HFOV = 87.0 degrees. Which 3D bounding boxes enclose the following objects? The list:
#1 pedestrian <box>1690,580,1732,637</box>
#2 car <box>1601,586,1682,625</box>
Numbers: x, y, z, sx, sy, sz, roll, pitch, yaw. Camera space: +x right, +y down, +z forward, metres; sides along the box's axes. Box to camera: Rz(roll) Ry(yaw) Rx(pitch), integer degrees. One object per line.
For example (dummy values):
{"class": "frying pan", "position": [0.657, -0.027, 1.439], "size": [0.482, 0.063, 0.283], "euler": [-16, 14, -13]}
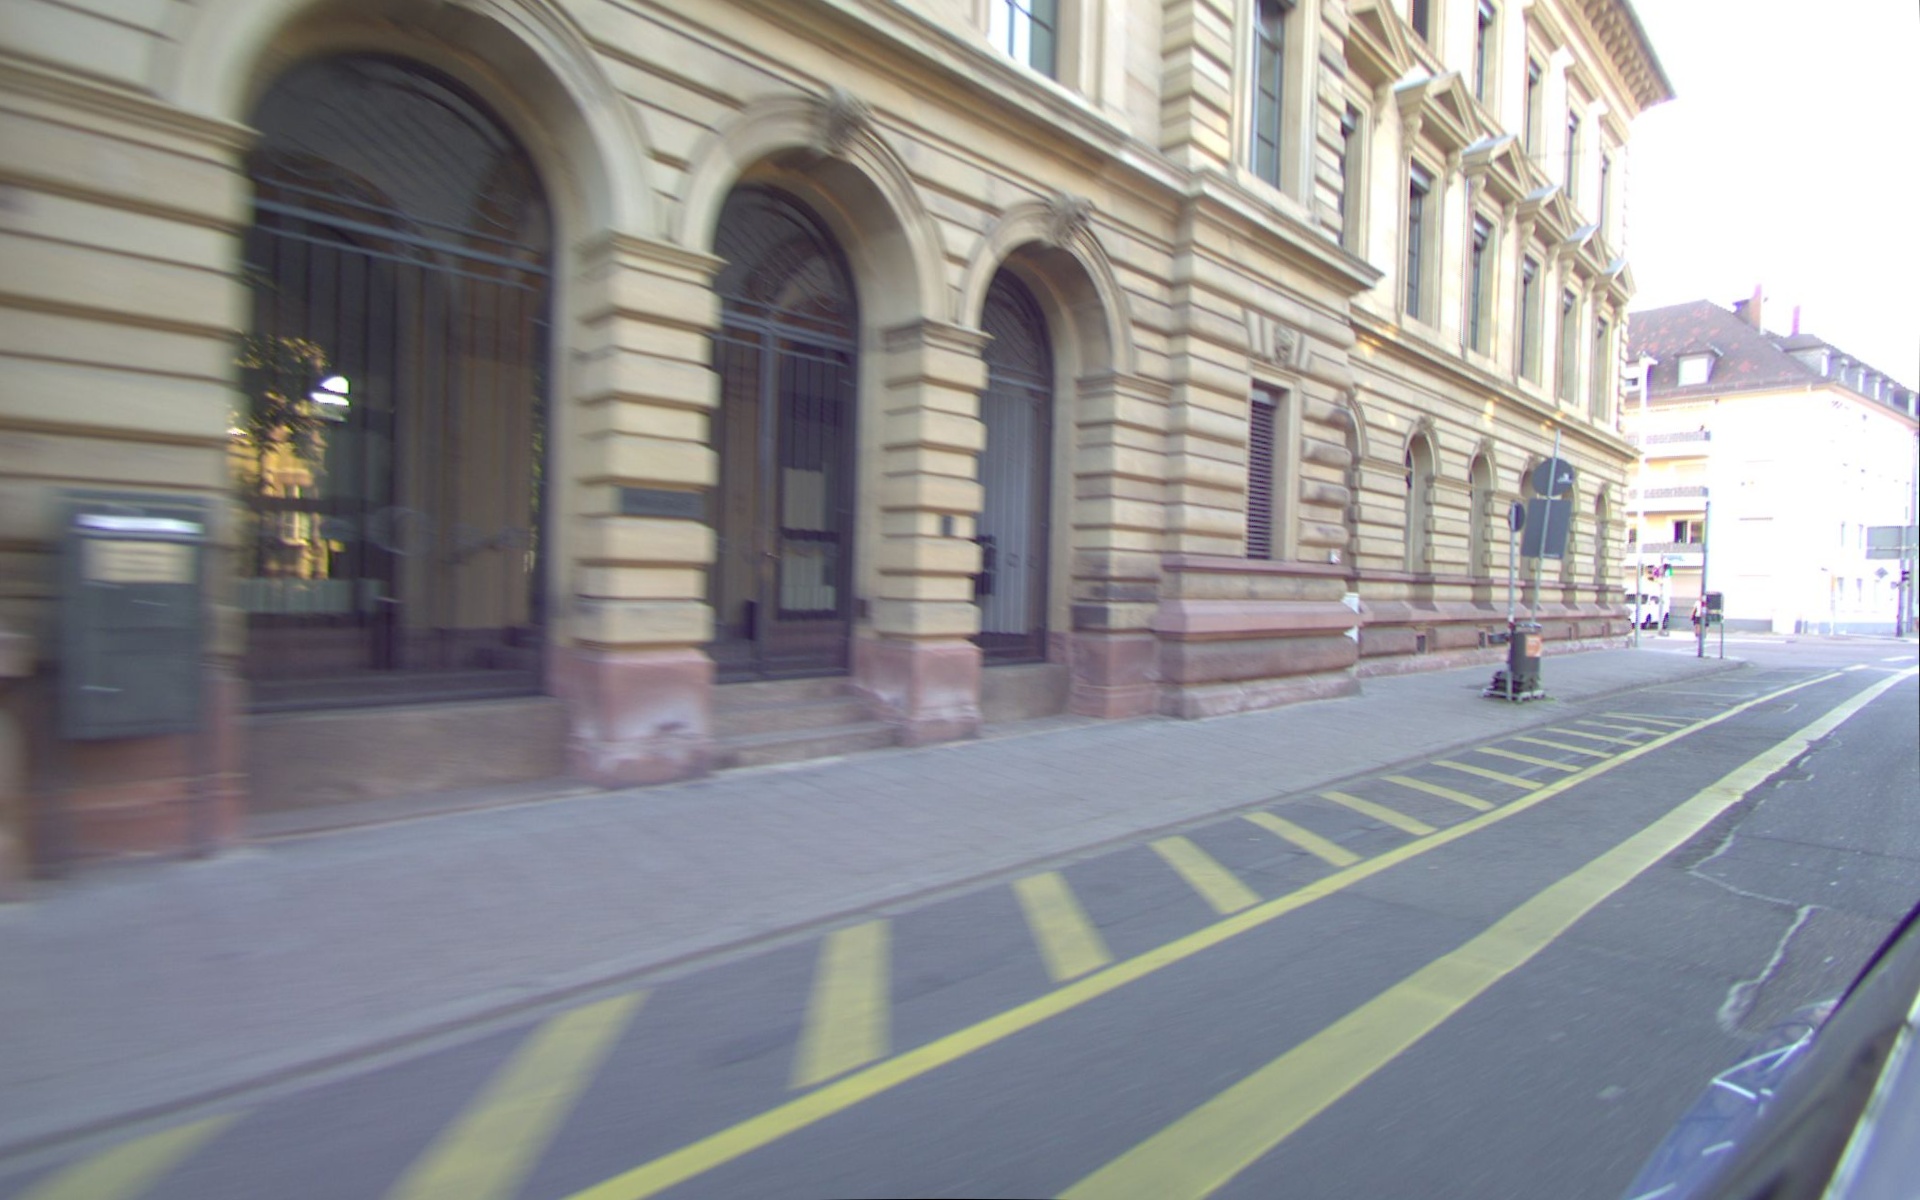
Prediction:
{"class": "pedestrian", "position": [27.444, 0.314, 36.984], "size": [0.973, 2.039, 0.789], "euler": [1, 0, -20]}
{"class": "car", "position": [32.576, 0.253, 48.322], "size": [4.394, 1.771, 1.998], "euler": [0, 1, -39]}
